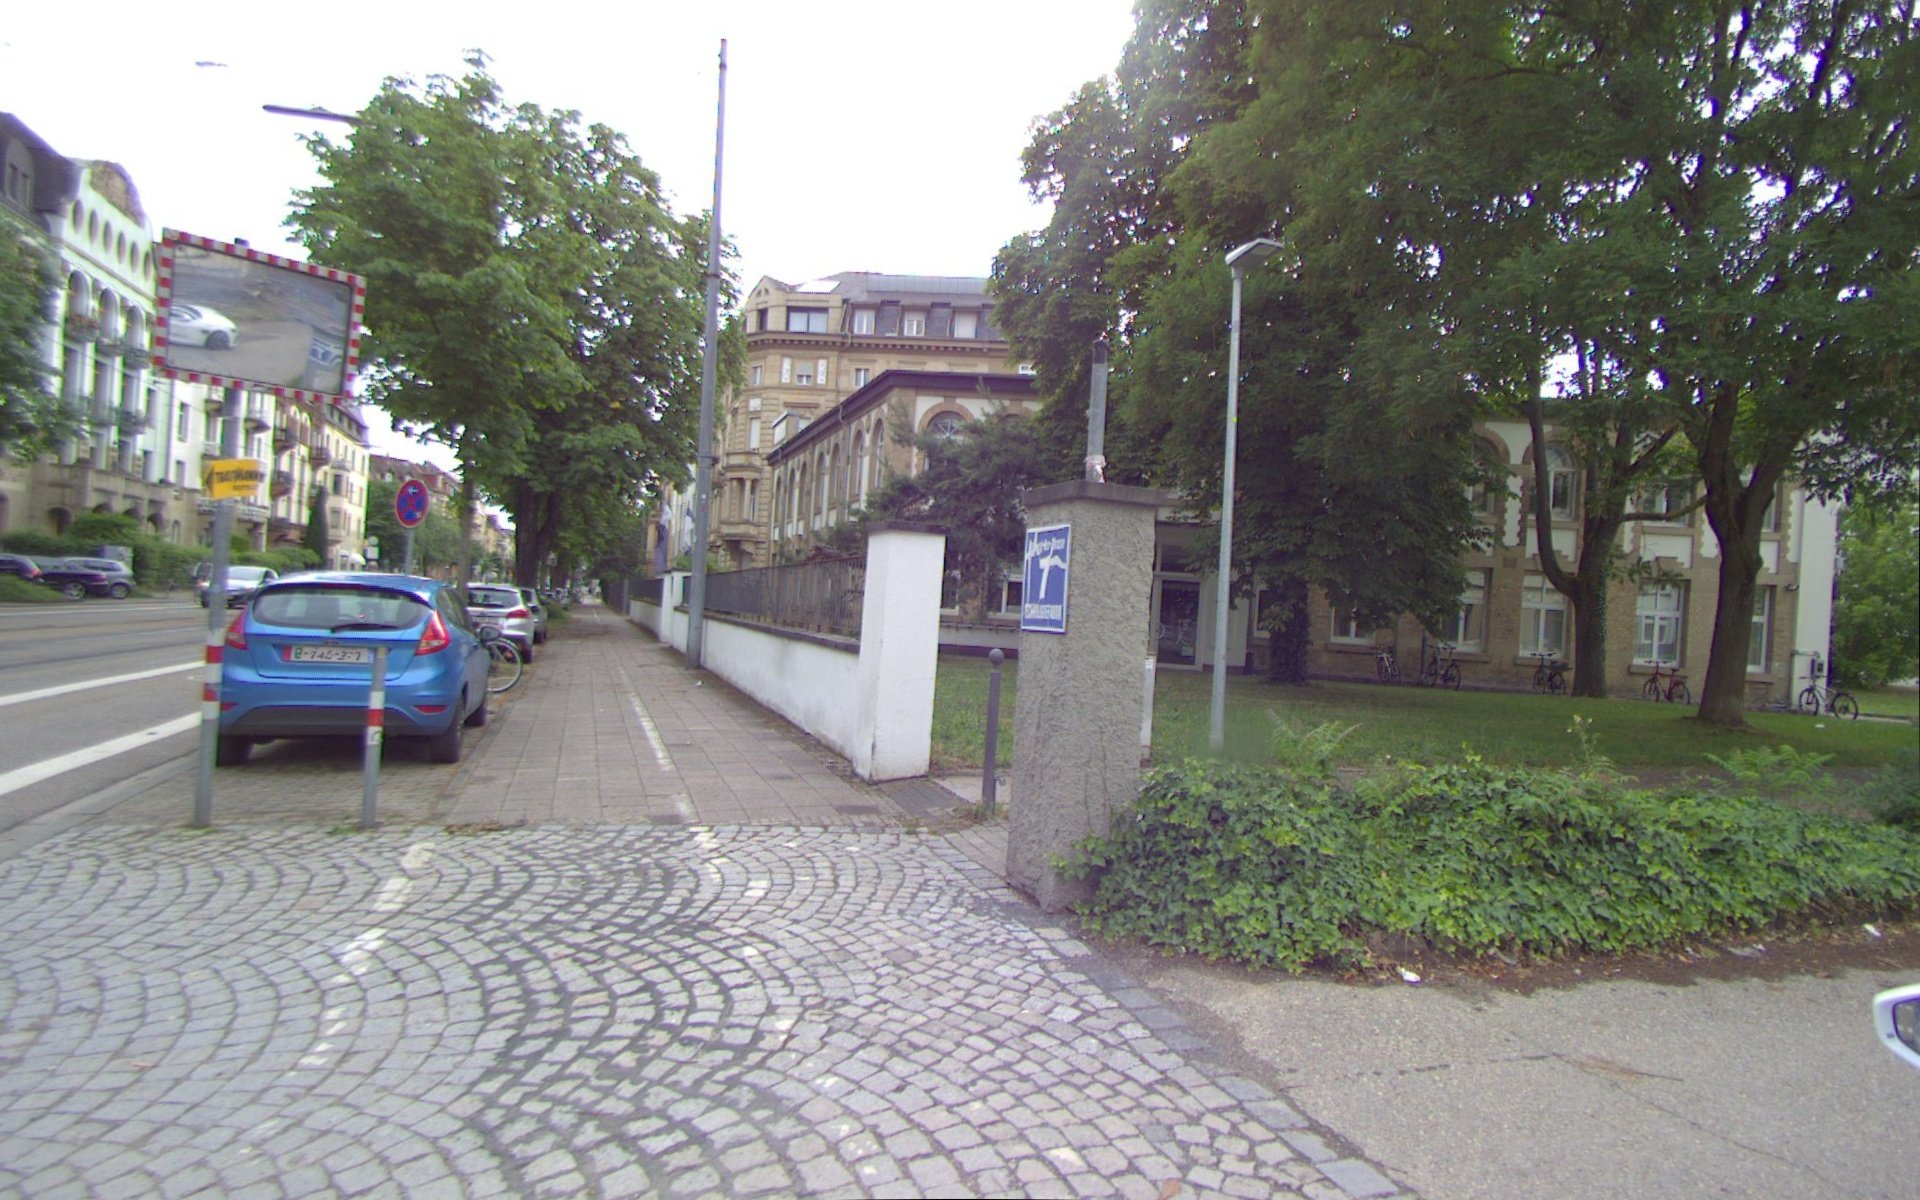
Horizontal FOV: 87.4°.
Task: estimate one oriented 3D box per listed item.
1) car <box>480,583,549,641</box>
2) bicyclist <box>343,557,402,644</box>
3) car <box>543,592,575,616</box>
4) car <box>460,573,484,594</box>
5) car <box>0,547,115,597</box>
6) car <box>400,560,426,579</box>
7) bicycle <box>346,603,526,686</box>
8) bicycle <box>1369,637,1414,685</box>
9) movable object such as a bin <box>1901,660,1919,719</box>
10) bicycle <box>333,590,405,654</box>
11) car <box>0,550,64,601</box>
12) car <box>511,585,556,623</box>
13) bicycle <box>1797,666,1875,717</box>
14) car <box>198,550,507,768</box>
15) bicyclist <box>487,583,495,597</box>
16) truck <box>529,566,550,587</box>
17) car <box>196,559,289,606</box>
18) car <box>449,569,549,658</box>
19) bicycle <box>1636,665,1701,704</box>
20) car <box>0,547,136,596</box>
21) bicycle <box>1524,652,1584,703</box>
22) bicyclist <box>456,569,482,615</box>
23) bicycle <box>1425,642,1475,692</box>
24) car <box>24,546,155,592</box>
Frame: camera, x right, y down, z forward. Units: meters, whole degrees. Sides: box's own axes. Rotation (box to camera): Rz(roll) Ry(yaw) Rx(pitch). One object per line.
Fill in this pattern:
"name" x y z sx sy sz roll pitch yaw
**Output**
"car" -11.553 0.280 26.151 1.493 1.320 3.160 4 0 -23
"bicyclist" -11.356 0.011 19.445 0.653 1.590 0.983 4 -1 -15
"car" -25.960 0.230 65.076 1.646 1.417 3.646 3 -1 -18
"car" -61.135 -2.037 125.822 2.180 2.449 3.981 3 0 -21
"car" -31.214 -0.990 34.074 1.677 1.404 3.698 4 -2 45
"car" -69.275 -3.844 127.231 2.152 2.236 4.199 3 0 -20
"bicycle" -6.739 0.583 13.033 1.991 0.969 0.530 4 0 -25
"bicycle" 11.212 1.551 26.163 0.606 1.134 2.223 3 -1 13
"movable object such as a bin" 21.642 2.014 21.952 1.035 1.281 1.354 3 0 19
"bicycle" -11.391 0.410 19.417 0.656 1.131 1.860 5 -1 -16
"car" -28.923 -0.833 29.135 1.667 1.369 3.967 4 -1 24
"car" -16.611 0.139 39.164 1.493 1.320 3.160 4 0 -23
"bicycle" 21.613 2.243 24.831 0.388 1.079 1.829 4 0 5
"car" -4.984 0.415 8.726 1.655 1.480 3.415 2 0 -21
"bicyclist" -39.702 -0.849 84.994 0.507 1.184 0.435 3 0 -28
"truck" -90.061 -4.916 215.079 3.768 4.082 10.158 3 -1 -24
"car" -24.961 -0.607 35.079 1.722 1.447 3.978 4 -1 -23
"car" -9.033 0.232 19.896 1.459 1.500 3.547 5 -1 -21
"bicycle" 17.829 2.100 25.315 0.606 0.824 1.946 3 -1 13
"car" -32.645 -1.024 36.694 1.677 1.404 3.698 4 -2 45
"bicycle" 15.077 1.945 25.563 0.606 1.134 2.223 3 -1 13
"bicyclist" -17.986 -0.296 36.810 0.650 1.631 0.916 4 0 -19
"bicycle" 12.559 1.690 25.790 0.606 1.134 2.223 3 -1 13
"car" -33.997 -1.192 39.272 1.677 1.404 3.698 4 -2 45
